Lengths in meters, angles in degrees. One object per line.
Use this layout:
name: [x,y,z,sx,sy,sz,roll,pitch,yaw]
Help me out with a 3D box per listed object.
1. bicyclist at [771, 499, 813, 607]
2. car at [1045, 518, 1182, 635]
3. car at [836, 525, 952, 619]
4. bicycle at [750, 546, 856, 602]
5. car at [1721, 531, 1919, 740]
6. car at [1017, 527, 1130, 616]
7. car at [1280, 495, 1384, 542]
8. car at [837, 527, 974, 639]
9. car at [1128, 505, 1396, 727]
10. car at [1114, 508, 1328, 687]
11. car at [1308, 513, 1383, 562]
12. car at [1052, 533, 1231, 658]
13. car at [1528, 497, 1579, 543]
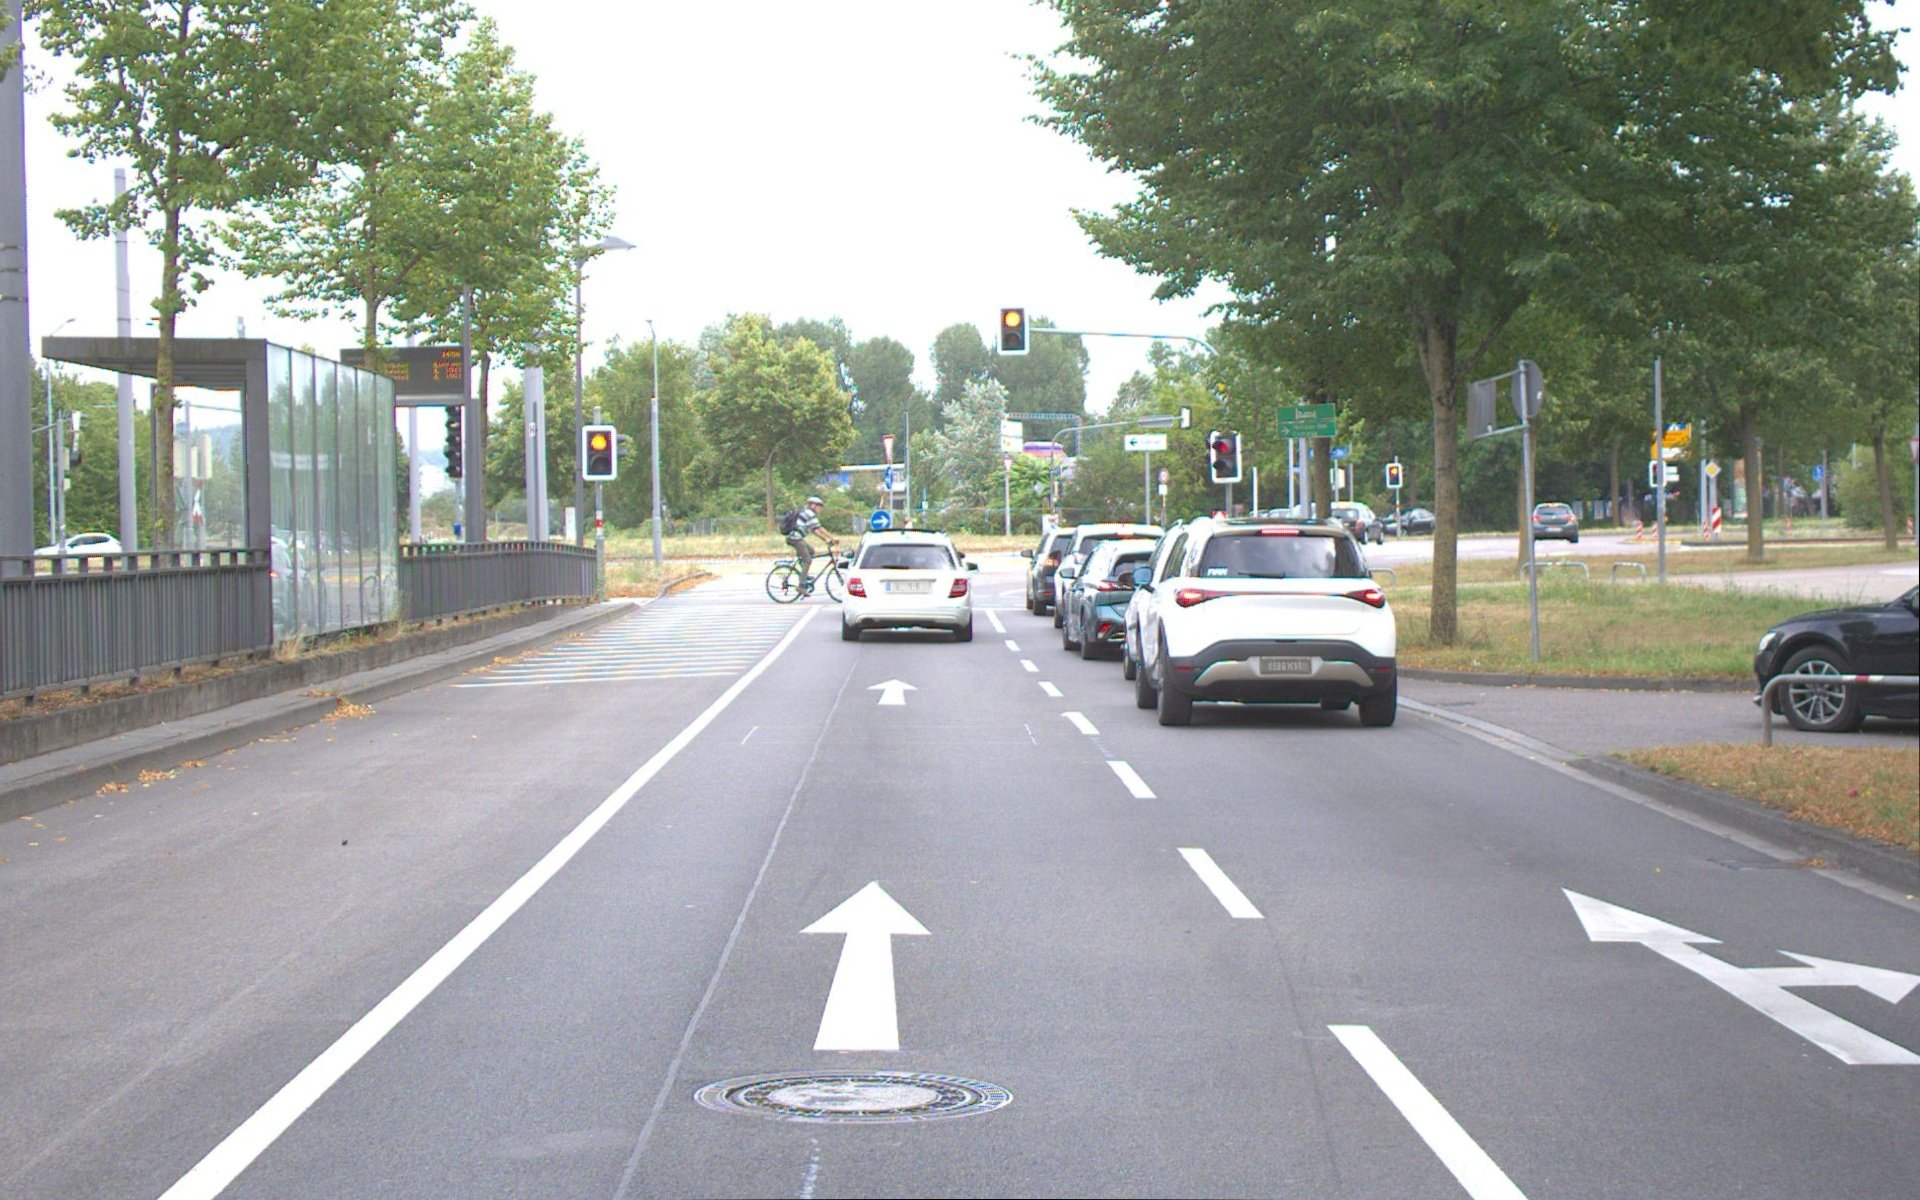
bicyclist: [-3.039,-0.856,62.143,0.728,1.878,0.735,-1,7,-3]
car: [2.218,-0.375,50.552,1.787,1.619,3.911,-1,1,0]
car: [-1.103,-0.479,55.603,1.773,1.443,3.911,0,1,-2]
bicycle: [-2.925,-0.490,64.195,1.933,0.980,0.565,1,1,-1]
car: [7.973,0.242,24.637,1.941,1.470,4.870,-2,2,-35]
car: [1.888,-0.507,58.354,1.624,1.443,3.911,0,1,-2]
car: [16.600,-3.641,153.077,1.998,2.006,4.987,1,2,43]
car: [-0.784,-0.265,47.309,1.773,1.443,3.911,0,1,-2]
car: [2.389,0.072,28.073,1.779,1.651,4.024,-1,1,0]
car: [2.552,-0.073,34.396,1.779,1.651,4.024,-1,1,0]
car: [14.709,-2.394,131.429,1.993,1.784,4.001,1,1,-6]
car: [2.192,-0.093,42.564,1.787,1.427,4.311,0,1,-3]
car: [21.766,-2.939,126.184,1.784,1.630,4.400,-1,1,9]
